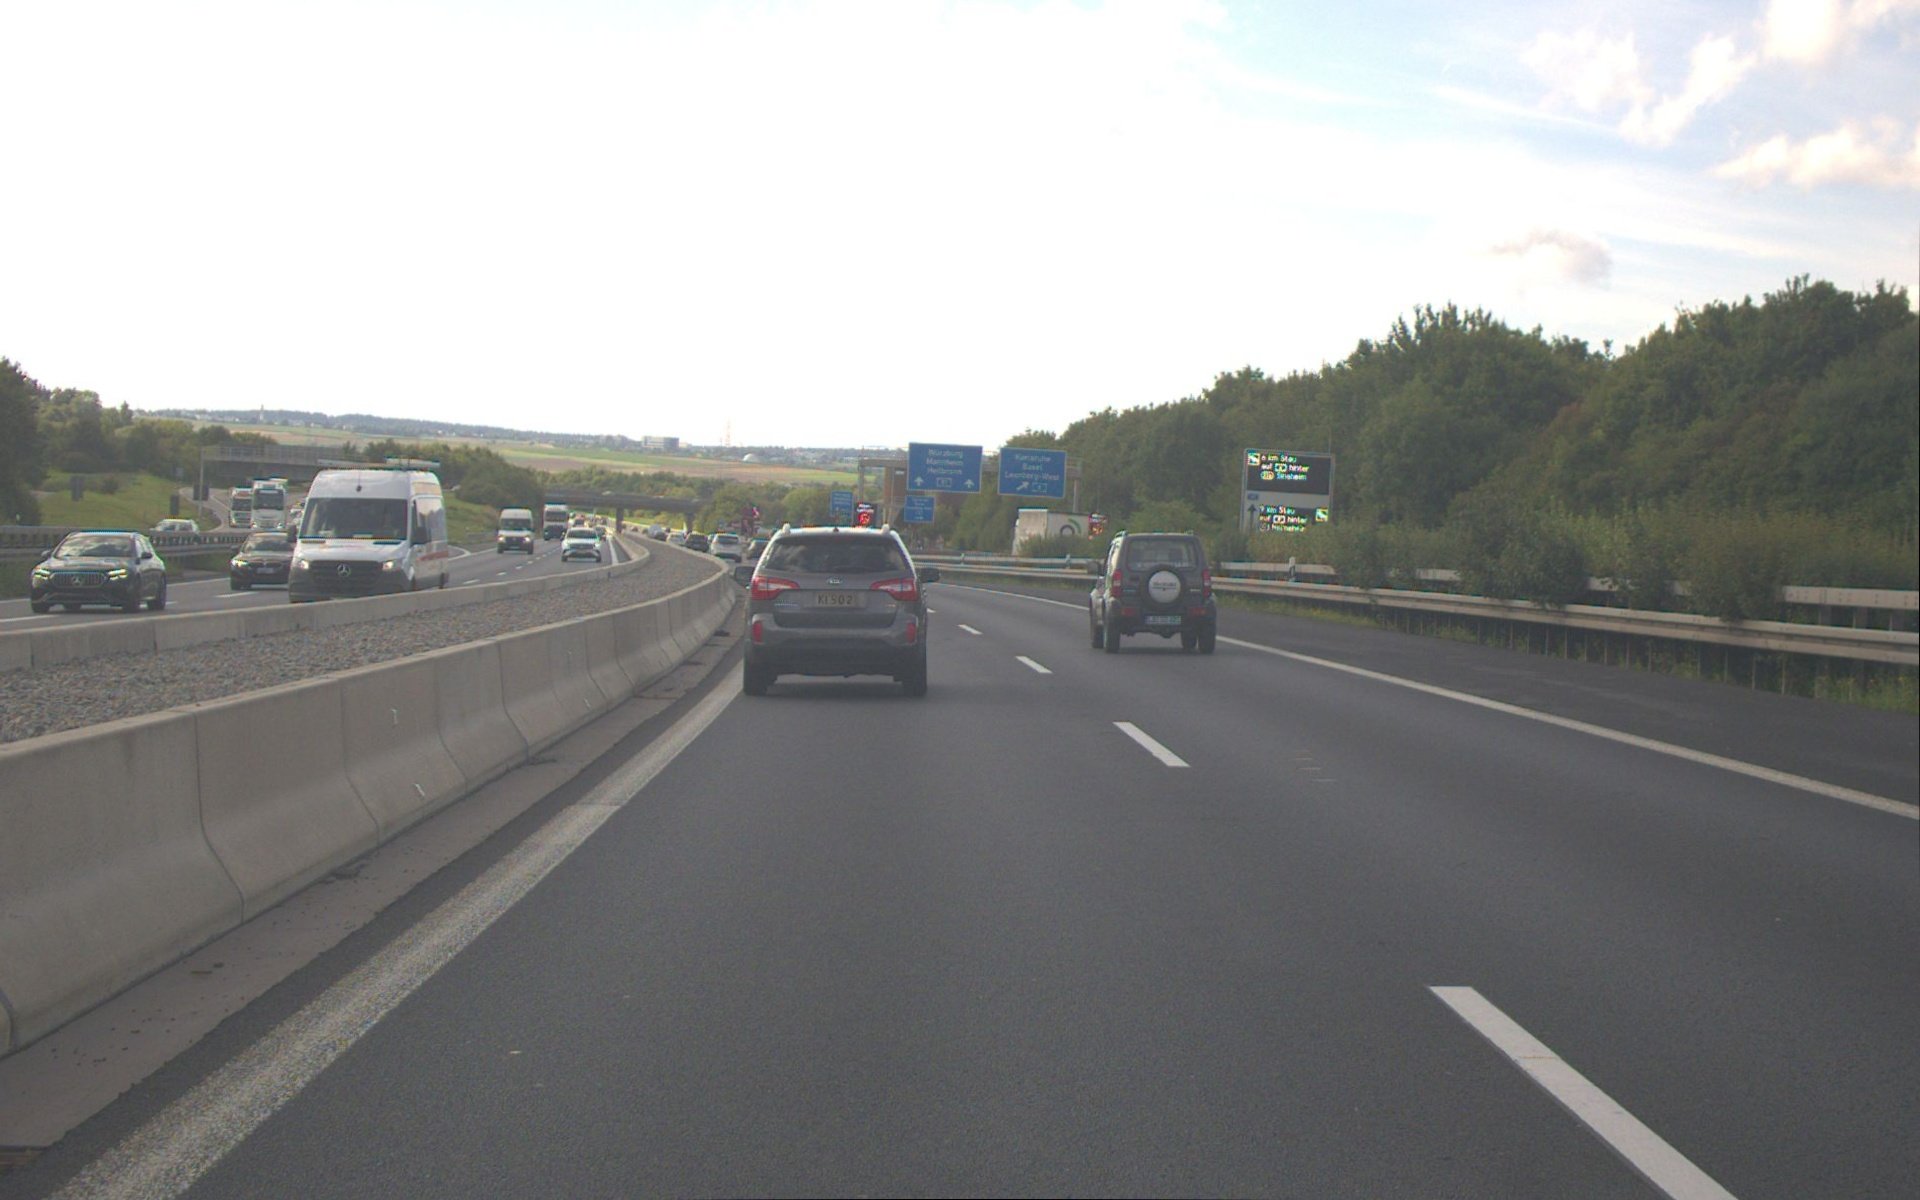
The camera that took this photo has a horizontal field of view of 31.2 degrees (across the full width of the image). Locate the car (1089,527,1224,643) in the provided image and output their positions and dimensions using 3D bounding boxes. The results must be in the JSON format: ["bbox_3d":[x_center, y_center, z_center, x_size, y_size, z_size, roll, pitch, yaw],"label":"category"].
[{"bbox_3d":[2.835,-0.251,50.204,1.587,1.591,4.096,1,1,-2],"label":"car"}]

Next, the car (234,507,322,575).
[{"bbox_3d":[-17.750,-1.542,89.657,1.725,1.694,4.153,1,1,-4],"label":"car"}]

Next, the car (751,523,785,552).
[{"bbox_3d":[-13.912,-4.521,248.969,1.993,1.922,4.001,1,-1,-8],"label":"car"}]

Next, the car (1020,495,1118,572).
[{"bbox_3d":[6.546,-3.950,208.511,4.728,4.251,11.405,1,-1,-4],"label":"car"}]

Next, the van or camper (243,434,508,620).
[{"bbox_3d":[-9.959,-1.243,59.396,3.335,2.906,7.467,2,1,-1],"label":"van or camper"}]

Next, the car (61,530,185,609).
[{"bbox_3d":[-16.062,-0.608,66.177,1.784,1.412,4.998,1,1,-8],"label":"car"}]

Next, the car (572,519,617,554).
[{"bbox_3d":[-17.619,-3.065,165.992,1.842,1.605,5.136,1,1,-3],"label":"car"}]

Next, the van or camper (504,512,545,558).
[{"bbox_3d":[-25.471,-3.803,201.326,1.986,2.615,6.864,1,1,-4],"label":"van or camper"}]

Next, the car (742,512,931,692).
[{"bbox_3d":[-1.309,0.006,36.283,1.817,1.730,5.187,1,0,-2],"label":"car"}]

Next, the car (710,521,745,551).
[{"bbox_3d":[-14.260,-3.885,210.659,1.993,1.678,4.001,1,-1,-6],"label":"car"}]

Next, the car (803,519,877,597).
[{"bbox_3d":[-3.436,-1.220,99.046,2.030,2.144,4.000,1,1,-1],"label":"car"}]
